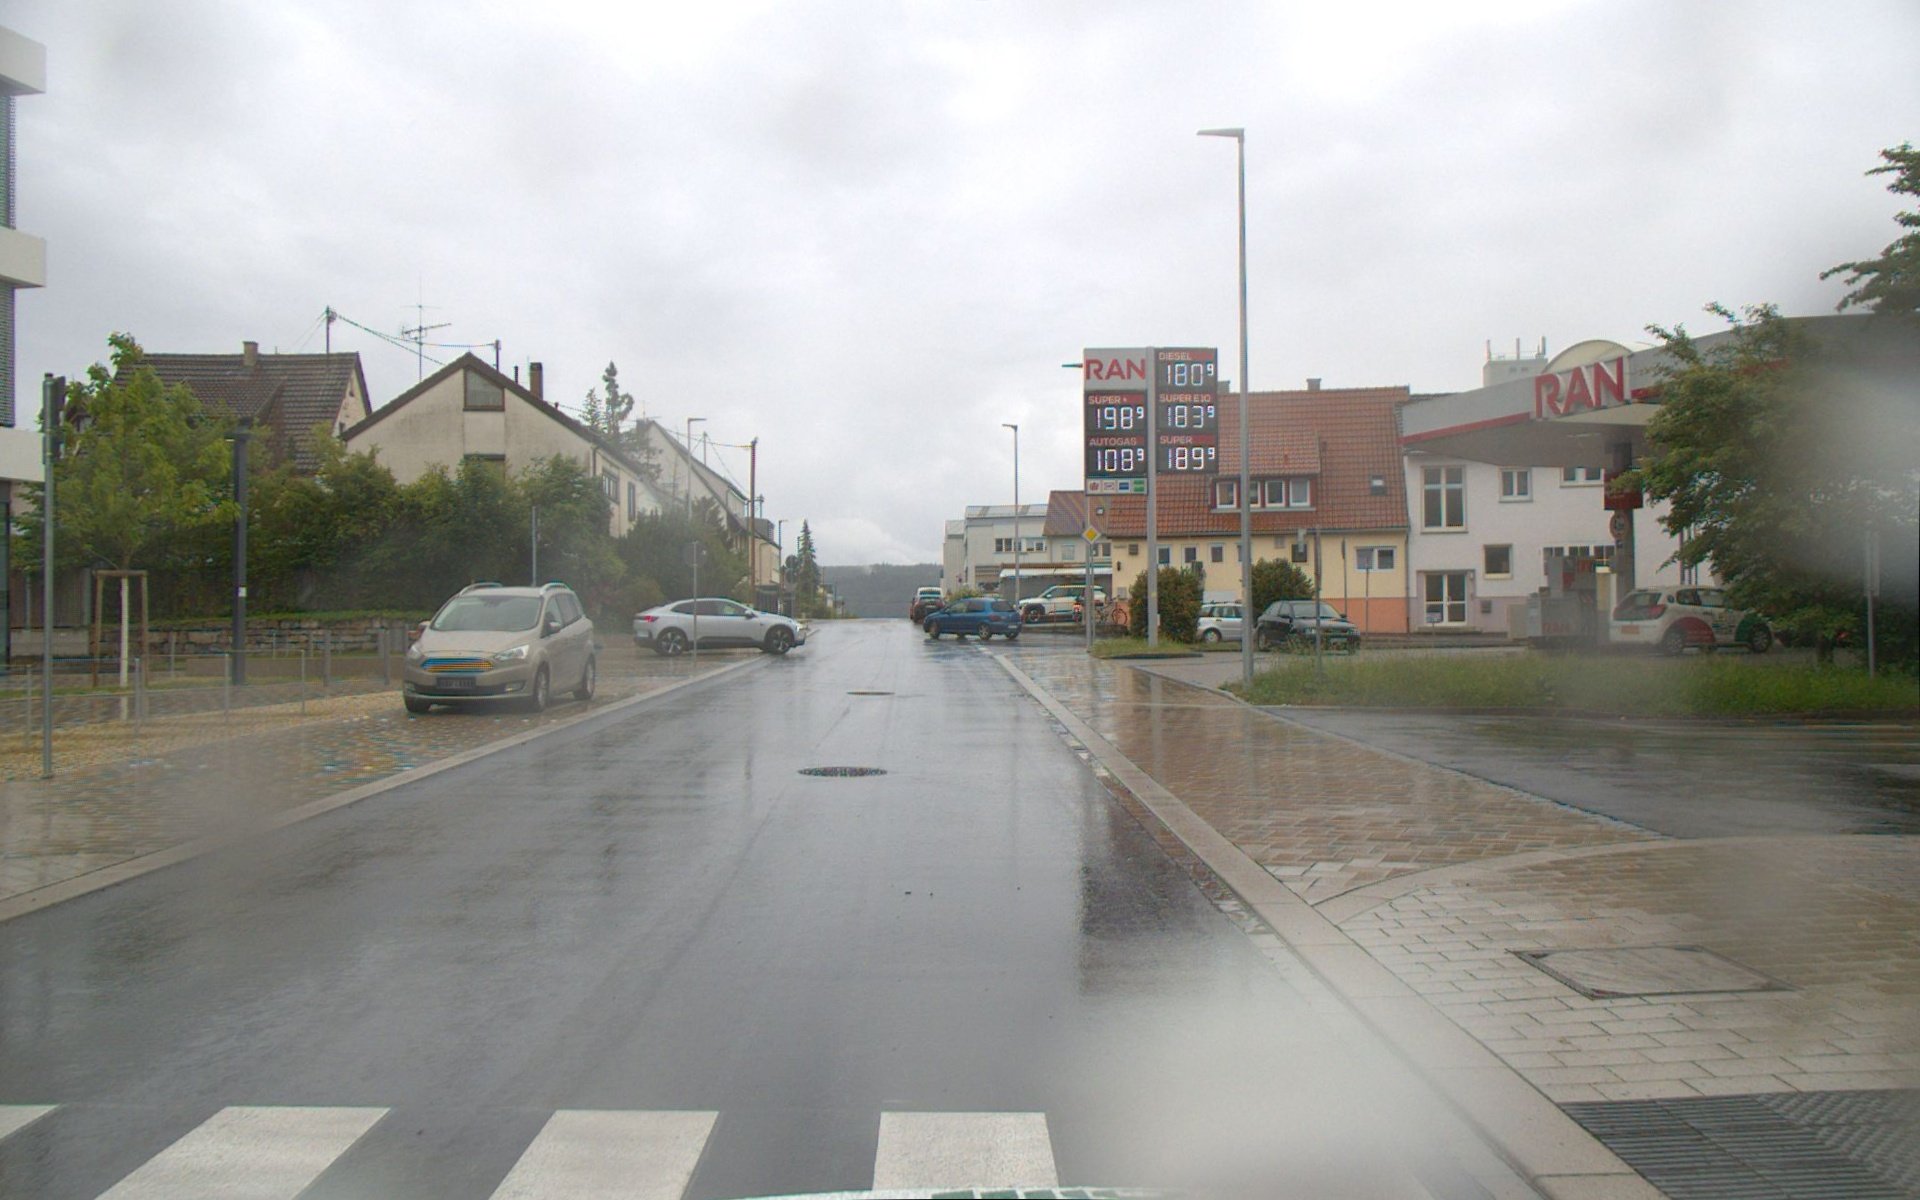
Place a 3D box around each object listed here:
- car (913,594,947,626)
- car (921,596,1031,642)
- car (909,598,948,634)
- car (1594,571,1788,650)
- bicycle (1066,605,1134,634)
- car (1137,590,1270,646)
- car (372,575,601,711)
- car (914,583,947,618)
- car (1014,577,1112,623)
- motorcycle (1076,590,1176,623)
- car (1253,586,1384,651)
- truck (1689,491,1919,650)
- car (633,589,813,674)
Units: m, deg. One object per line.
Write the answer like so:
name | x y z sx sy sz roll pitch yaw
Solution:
car | -1.811 0.640 101.220 1.953 1.736 3.998 3 -2 -1
car | 0.572 0.706 62.179 3.933 1.519 1.844 1 -3 45
car | -1.650 0.872 88.191 1.953 1.736 3.998 3 -2 -1
car | 15.660 0.245 35.465 3.465 1.583 1.942 2 -2 -21
bicycle | 5.565 0.761 65.915 0.662 1.085 3.589 4 -3 -32
car | 8.091 0.614 55.005 3.916 1.583 1.949 4 -2 -11
car | -6.320 0.535 22.581 1.953 1.657 4.152 -1 0 -1
car | -1.677 0.056 94.954 1.747 1.736 3.998 3 -2 -1
car | 4.516 0.004 72.532 4.031 1.736 1.787 3 -2 -4
motorcycle | 6.826 0.246 67.997 3.909 1.173 1.092 2 -3 26
car | 9.616 0.538 44.664 1.959 1.579 3.987 4 -2 -12
truck | 22.966 -0.644 42.711 7.596 3.505 2.668 4 -3 -16
car | -6.599 0.888 45.932 4.675 2.049 1.992 4 -2 -15
